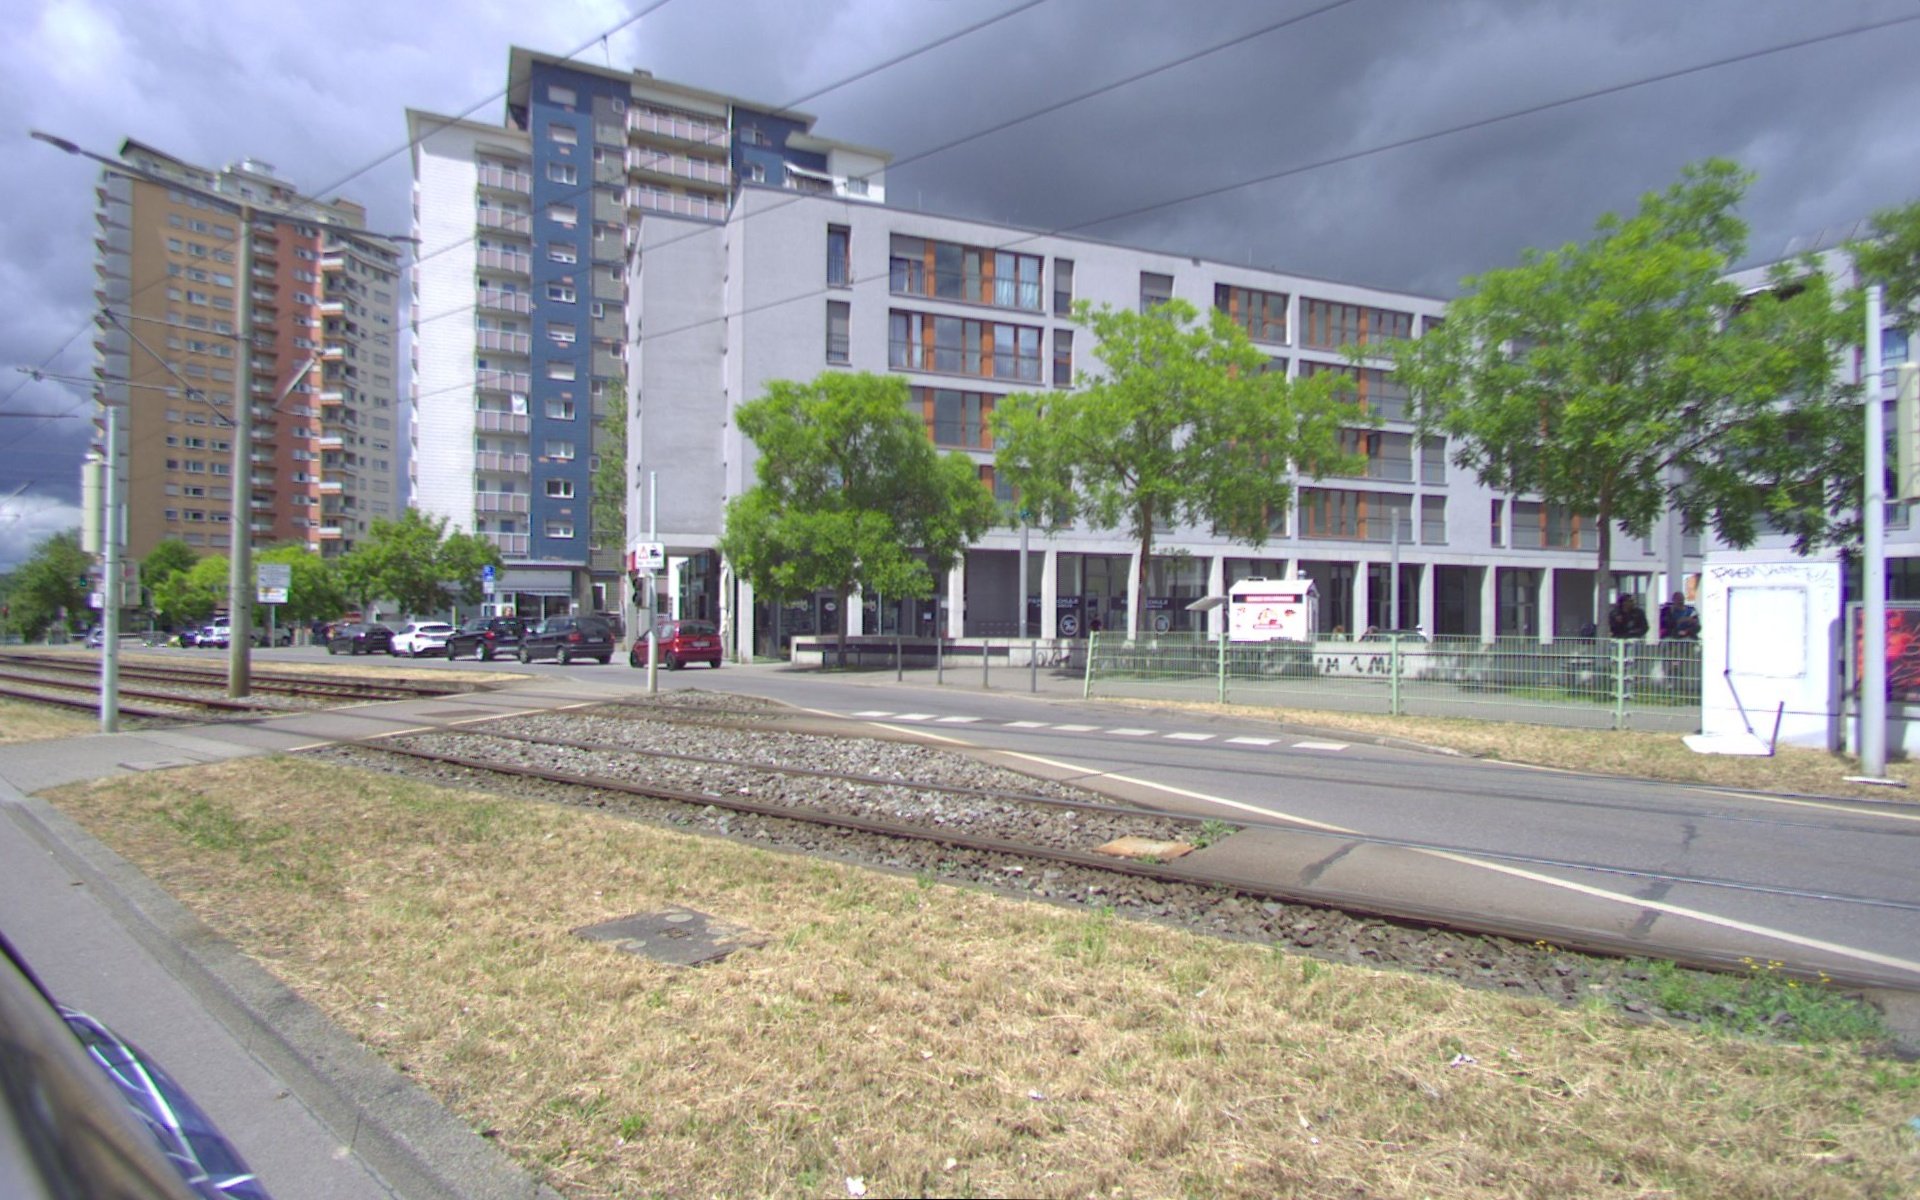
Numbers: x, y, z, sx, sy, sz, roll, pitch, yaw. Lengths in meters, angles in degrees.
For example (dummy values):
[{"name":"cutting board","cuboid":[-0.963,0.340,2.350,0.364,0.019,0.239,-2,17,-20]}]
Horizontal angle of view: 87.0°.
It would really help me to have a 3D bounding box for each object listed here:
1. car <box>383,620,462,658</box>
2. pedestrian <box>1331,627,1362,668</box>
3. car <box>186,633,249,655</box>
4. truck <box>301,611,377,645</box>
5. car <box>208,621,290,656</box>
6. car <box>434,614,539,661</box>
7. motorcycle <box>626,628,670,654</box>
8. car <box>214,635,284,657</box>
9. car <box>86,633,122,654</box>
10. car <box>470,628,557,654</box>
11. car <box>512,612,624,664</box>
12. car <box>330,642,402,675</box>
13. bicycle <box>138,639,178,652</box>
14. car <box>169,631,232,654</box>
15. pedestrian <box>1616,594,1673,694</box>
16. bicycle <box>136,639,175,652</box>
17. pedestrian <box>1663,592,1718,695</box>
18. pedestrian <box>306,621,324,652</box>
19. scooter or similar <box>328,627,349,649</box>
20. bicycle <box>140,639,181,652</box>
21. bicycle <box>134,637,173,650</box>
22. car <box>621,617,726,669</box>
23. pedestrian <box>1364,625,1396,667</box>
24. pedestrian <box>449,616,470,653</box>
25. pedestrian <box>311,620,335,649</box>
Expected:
[{"name":"car","cuboid":[-22.643,1.668,42.567,1.733,1.486,4.403,3,-4,-44]},{"name":"pedestrian","cuboid":[10.353,1.265,27.144,0.491,1.104,0.579,1,-2,-24]},{"name":"car","cuboid":[-52.916,3.153,72.186,1.723,1.508,3.765,0,-3,1]},{"name":"truck","cuboid":[-70.902,3.228,115.683,6.991,3.703,2.549,2,-4,-42]},{"name":"car","cuboid":[-44.942,2.467,64.094,1.879,2.173,4.762,0,-3,-1]},{"name":"car","cuboid":[-17.915,1.421,38.237,4.094,1.675,1.974,-3,-2,38]},{"name":"motorcycle","cuboid":[-14.719,1.946,47.797,0.740,1.187,1.874,-3,-4,38]},{"name":"car","cuboid":[-47.074,3.041,67.104,1.879,1.394,4.000,0,-3,-1]},{"name":"car","cuboid":[-66.743,3.411,78.892,3.756,1.544,1.797,-3,-4,45]},{"name":"car","cuboid":[-25.568,2.382,58.126,4.283,1.454,2.005,0,-3,-14]},{"name":"car","cuboid":[-13.363,1.331,34.392,4.100,1.660,1.971,-3,-4,43]},{"name":"car","cuboid":[-27.788,2.688,47.292,4.380,1.439,1.715,-2,-3,43]},{"name":"bicycle","cuboid":[-64.166,3.658,81.014,0.704,1.074,2.401,-3,-4,41]},{"name":"car","cuboid":[-56.247,3.158,75.022,1.902,1.604,4.005,0,-3,-6]},{"name":"pedestrian","cuboid":[11.110,0.714,16.429,0.614,1.585,0.559,2,-4,-38]},{"name":"bicycle","cuboid":[-64.756,3.684,81.475,0.704,1.074,2.401,-3,-4,41]},{"name":"pedestrian","cuboid":[11.532,0.689,15.979,0.615,1.585,0.558,3,-4,-44]},{"name":"pedestrian","cuboid":[-38.281,2.167,60.053,0.829,1.806,0.876,2,-4,-35]},{"name":"scooter or similar","cuboid":[-34.178,2.099,55.658,0.759,1.133,0.580,-2,-5,4]},{"name":"bicycle","cuboid":[-63.582,3.630,80.491,0.704,1.074,2.401,-3,-4,41]},{"name":"bicycle","cuboid":[-65.354,3.521,82.015,0.704,1.074,2.401,-3,-4,41]},{"name":"car","cuboid":[-8.462,1.278,29.773,1.594,1.437,3.426,3,-4,-43]},{"name":"pedestrian","cuboid":[11.289,1.235,27.214,0.491,1.104,0.579,1,-2,-24]},{"name":"pedestrian","cuboid":[-24.825,1.713,50.209,0.843,1.806,0.605,-3,-4,40]},{"name":"pedestrian","cuboid":[-35.047,1.904,55.676,0.973,1.584,0.514,-2,-4,5]}]
